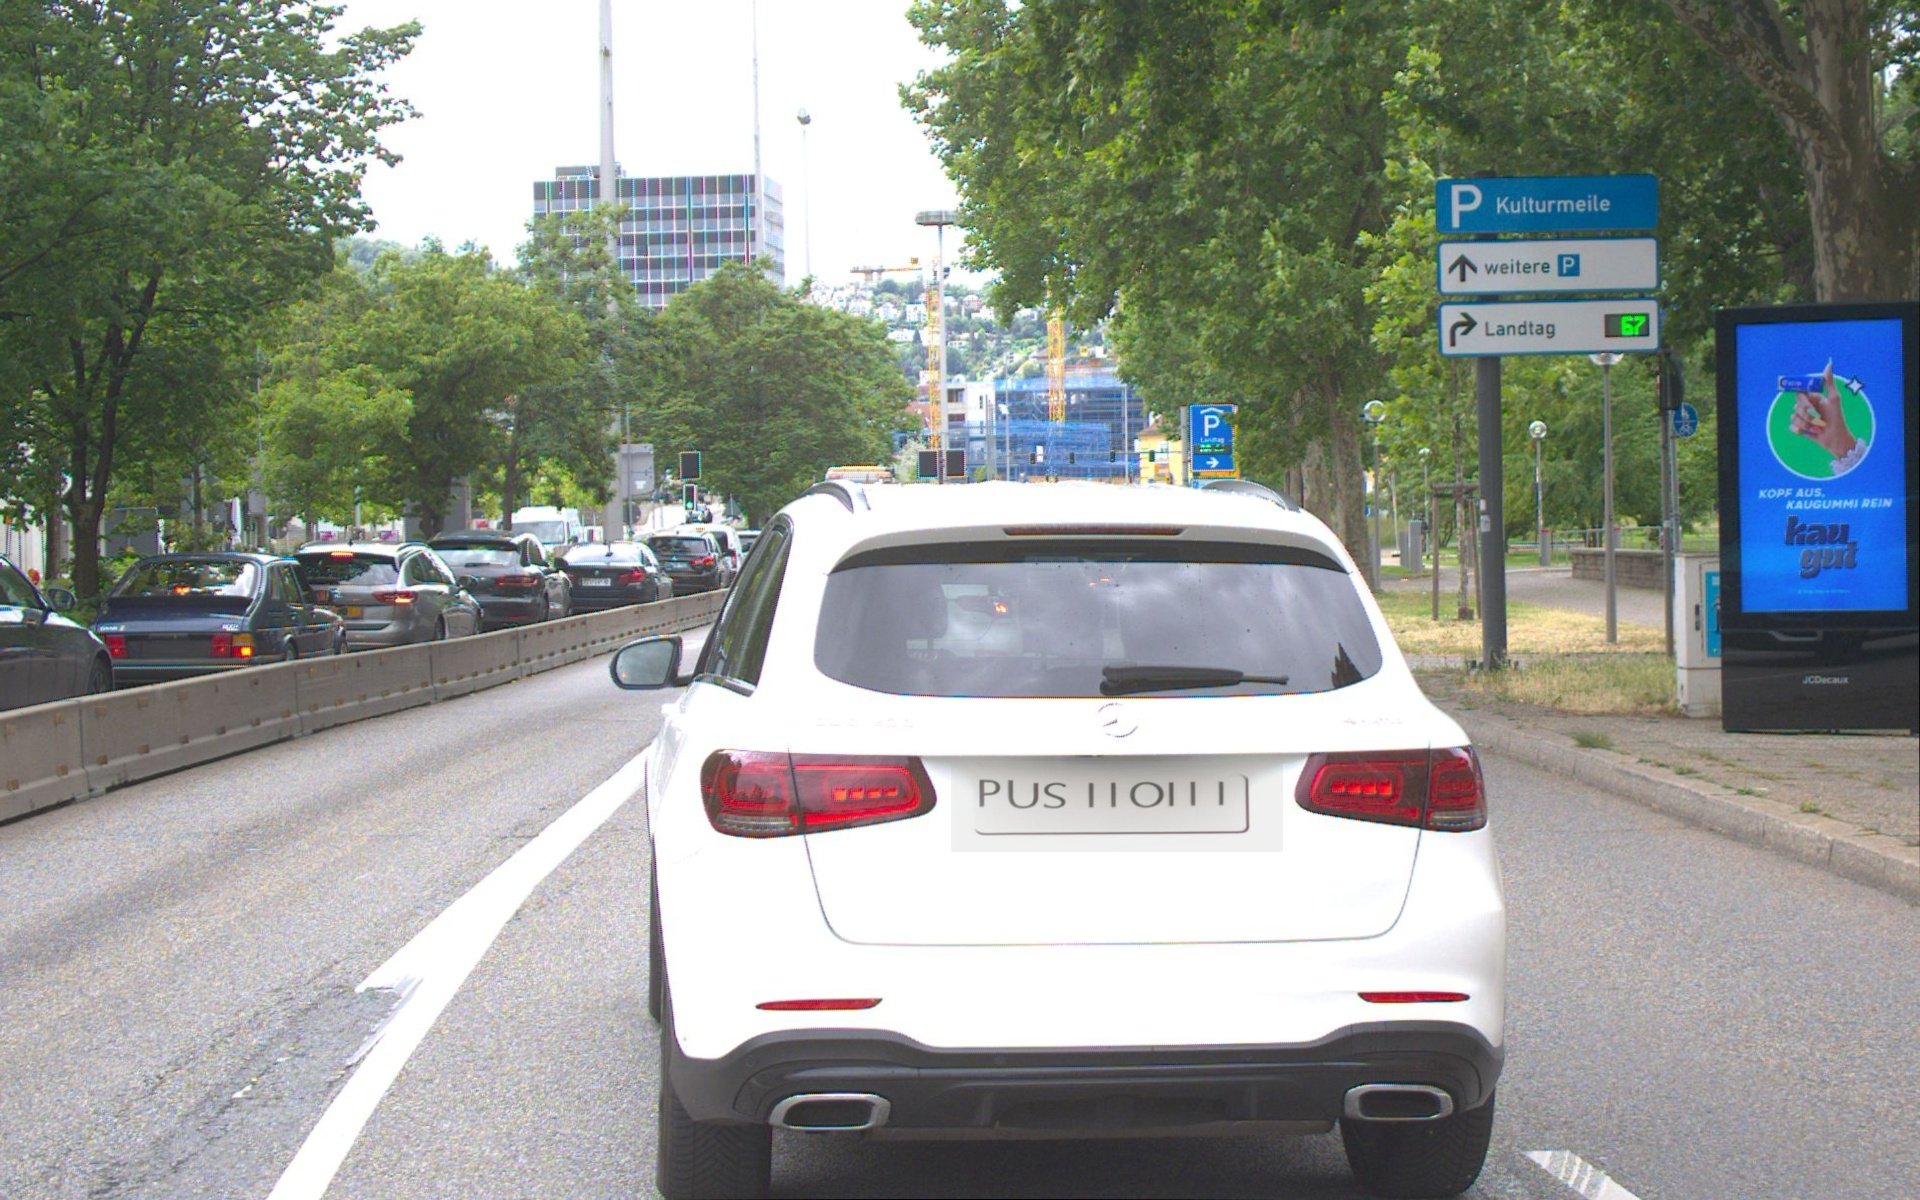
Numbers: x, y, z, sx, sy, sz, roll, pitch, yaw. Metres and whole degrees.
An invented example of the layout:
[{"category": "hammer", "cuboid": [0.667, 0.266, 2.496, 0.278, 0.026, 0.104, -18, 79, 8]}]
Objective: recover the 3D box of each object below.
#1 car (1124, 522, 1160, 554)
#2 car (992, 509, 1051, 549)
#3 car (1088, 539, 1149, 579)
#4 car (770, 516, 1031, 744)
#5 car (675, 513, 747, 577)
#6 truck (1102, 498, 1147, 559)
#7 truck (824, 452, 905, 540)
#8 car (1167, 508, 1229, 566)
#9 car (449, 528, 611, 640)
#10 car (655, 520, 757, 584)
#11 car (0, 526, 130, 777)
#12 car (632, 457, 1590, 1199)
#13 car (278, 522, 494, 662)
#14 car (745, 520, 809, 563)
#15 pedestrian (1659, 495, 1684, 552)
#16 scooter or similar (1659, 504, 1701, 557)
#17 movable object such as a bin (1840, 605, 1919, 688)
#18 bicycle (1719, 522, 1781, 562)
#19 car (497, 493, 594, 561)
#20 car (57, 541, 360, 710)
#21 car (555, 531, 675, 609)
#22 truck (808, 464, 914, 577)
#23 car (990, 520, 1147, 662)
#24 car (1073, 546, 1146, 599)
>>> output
[{"category": "car", "cuboid": [9.602, -3.272, 181.682, 1.758, 1.663, 4.168, 0, 1, 1]}, {"category": "car", "cuboid": [2.104, -2.394, 116.530, 1.947, 1.315, 4.016, 0, 1, 2]}, {"category": "car", "cuboid": [5.270, -1.371, 114.711, 1.947, 1.315, 4.016, 0, 1, 2]}, {"category": "car", "cuboid": [-0.519, 0.184, 26.109, 1.795, 1.603, 3.755, 0, 1, -4]}, {"category": "car", "cuboid": [-6.066, -1.330, 83.899, 1.659, 1.508, 3.548, -1, 0, -3]}, {"category": "truck", "cuboid": [11.355, -4.959, 237.941, 2.877, 4.089, 6.638, 1, 1, 1]}, {"category": "truck", "cuboid": [-3.401, -3.694, 123.478, 2.692, 2.981, 5.638, 1, 1, 0]}, {"category": "car", "cuboid": [8.360, -2.202, 121.014, 1.993, 2.007, 4.000, 0, 1, 2]}, {"category": "car", "cuboid": [-5.762, -0.252, 46.446, 1.776, 1.415, 4.001, -1, 1, -2]}, {"category": "car", "cuboid": [-5.362, -1.018, 72.932, 1.659, 1.315, 3.547, 0, 1, 4]}, {"category": "car", "cuboid": [-6.614, 0.304, 21.130, 1.816, 1.494, 4.769, -1, 1, 0]}, {"category": "car", "cuboid": [0.092, 0.503, 8.836, 1.787, 1.619, 4.438, 0, 1, -6]}, {"category": "car", "cuboid": [-6.178, -0.106, 37.354, 1.661, 1.431, 3.960, 0, 1, 0]}, {"category": "car", "cuboid": [-5.603, -1.802, 105.711, 1.659, 1.315, 3.547, 0, 1, 2]}, {"category": "pedestrian", "cuboid": [19.919, -2.141, 96.291, 0.639, 1.605, 0.663, 0, 1, 9]}, {"category": "scooter or similar", "cuboid": [17.237, -1.655, 82.322, 0.636, 1.241, 2.225, 1, 1, 3]}, {"category": "movable object such as a bin", "cuboid": [7.771, 0.379, 27.590, 1.299, 0.650, 0.728, 1, 0, 9]}, {"category": "bicycle", "cuboid": [20.235, -1.478, 88.126, 0.954, 0.972, 2.787, 1, 1, 0]}, {"category": "car", "cuboid": [-12.355, -2.190, 102.765, 2.115, 1.962, 5.578, -1, 1, 1]}, {"category": "car", "cuboid": [-6.658, 0.174, 30.918, 1.678, 1.362, 4.543, -1, 1, 0]}, {"category": "car", "cuboid": [-5.950, -0.534, 59.589, 1.659, 1.315, 3.547, 0, 1, 1]}, {"category": "truck", "cuboid": [-2.590, -2.121, 91.917, 2.621, 2.851, 7.079, 1, 1, 0]}, {"category": "car", "cuboid": [1.265, -0.133, 41.369, 1.659, 1.633, 3.548, 0, 1, -2]}, {"category": "car", "cuboid": [4.090, -0.783, 94.689, 1.947, 1.423, 4.016, 0, 1, 2]}]
